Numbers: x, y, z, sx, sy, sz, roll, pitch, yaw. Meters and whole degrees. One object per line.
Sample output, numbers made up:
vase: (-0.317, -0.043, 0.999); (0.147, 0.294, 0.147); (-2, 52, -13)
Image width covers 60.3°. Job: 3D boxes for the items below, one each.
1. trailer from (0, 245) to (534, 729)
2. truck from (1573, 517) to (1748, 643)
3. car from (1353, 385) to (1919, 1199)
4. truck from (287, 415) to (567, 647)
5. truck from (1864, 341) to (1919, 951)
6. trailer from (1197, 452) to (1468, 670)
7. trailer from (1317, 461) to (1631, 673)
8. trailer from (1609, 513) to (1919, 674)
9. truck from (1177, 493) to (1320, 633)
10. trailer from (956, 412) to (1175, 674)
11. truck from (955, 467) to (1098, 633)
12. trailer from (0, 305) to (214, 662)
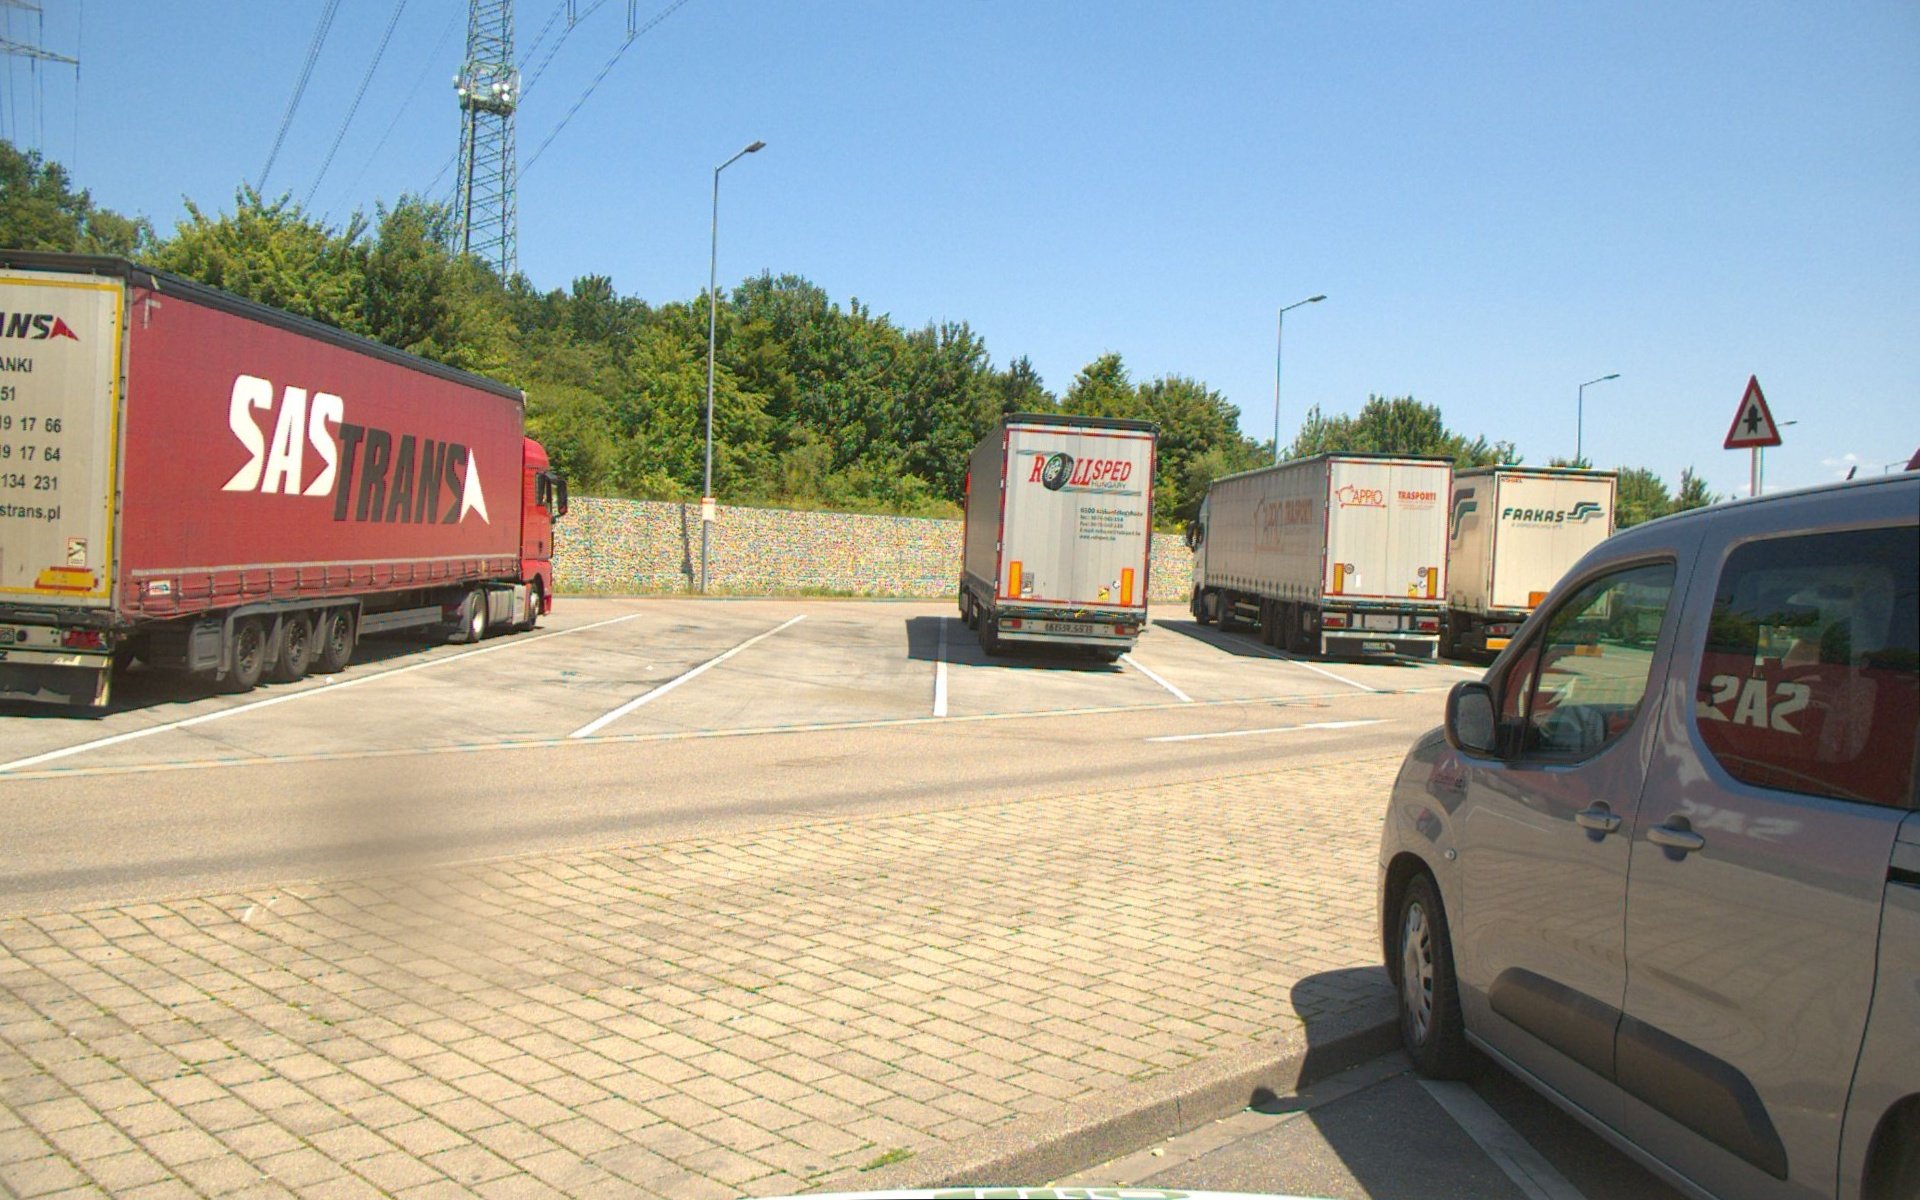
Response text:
trailer: (-8.719, -1.297, 21.466); (2.735, 4.155, 14.131); (3, 2, -1)
truck: (21.769, -0.701, 51.771); (2.746, 3.582, 5.900); (3, 2, -1)
car: (2.449, 0.597, 3.888); (1.832, 1.896, 4.174); (3, 1, -2)
truck: (-8.785, -1.157, 28.037); (2.793, 3.385, 5.900); (3, 2, -1)
truck: (5.011, 0.194, 5.012); (1.937, 2.668, 5.307); (1, 0, 4)
trailer: (8.175, -1.036, 38.884); (2.754, 4.058, 14.395); (3, 2, -1)
trailer: (11.738, -0.941, 39.989); (2.754, 4.058, 14.395); (3, 2, -1)
trailer: (21.847, -0.396, 44.541); (2.754, 3.568, 14.395); (3, 2, -1)
truck: (8.057, -1.099, 46.984); (2.805, 3.582, 5.900); (3, 2, -1)
trailer: (1.664, -1.200, 33.674); (3.070, 4.058, 14.393); (3, 2, -1)
truck: (1.506, -1.246, 40.565); (3.041, 3.628, 5.900); (3, 2, -1)
trailer: (-12.545, -1.343, 17.743); (2.739, 4.155, 14.131); (3, 2, -1)
